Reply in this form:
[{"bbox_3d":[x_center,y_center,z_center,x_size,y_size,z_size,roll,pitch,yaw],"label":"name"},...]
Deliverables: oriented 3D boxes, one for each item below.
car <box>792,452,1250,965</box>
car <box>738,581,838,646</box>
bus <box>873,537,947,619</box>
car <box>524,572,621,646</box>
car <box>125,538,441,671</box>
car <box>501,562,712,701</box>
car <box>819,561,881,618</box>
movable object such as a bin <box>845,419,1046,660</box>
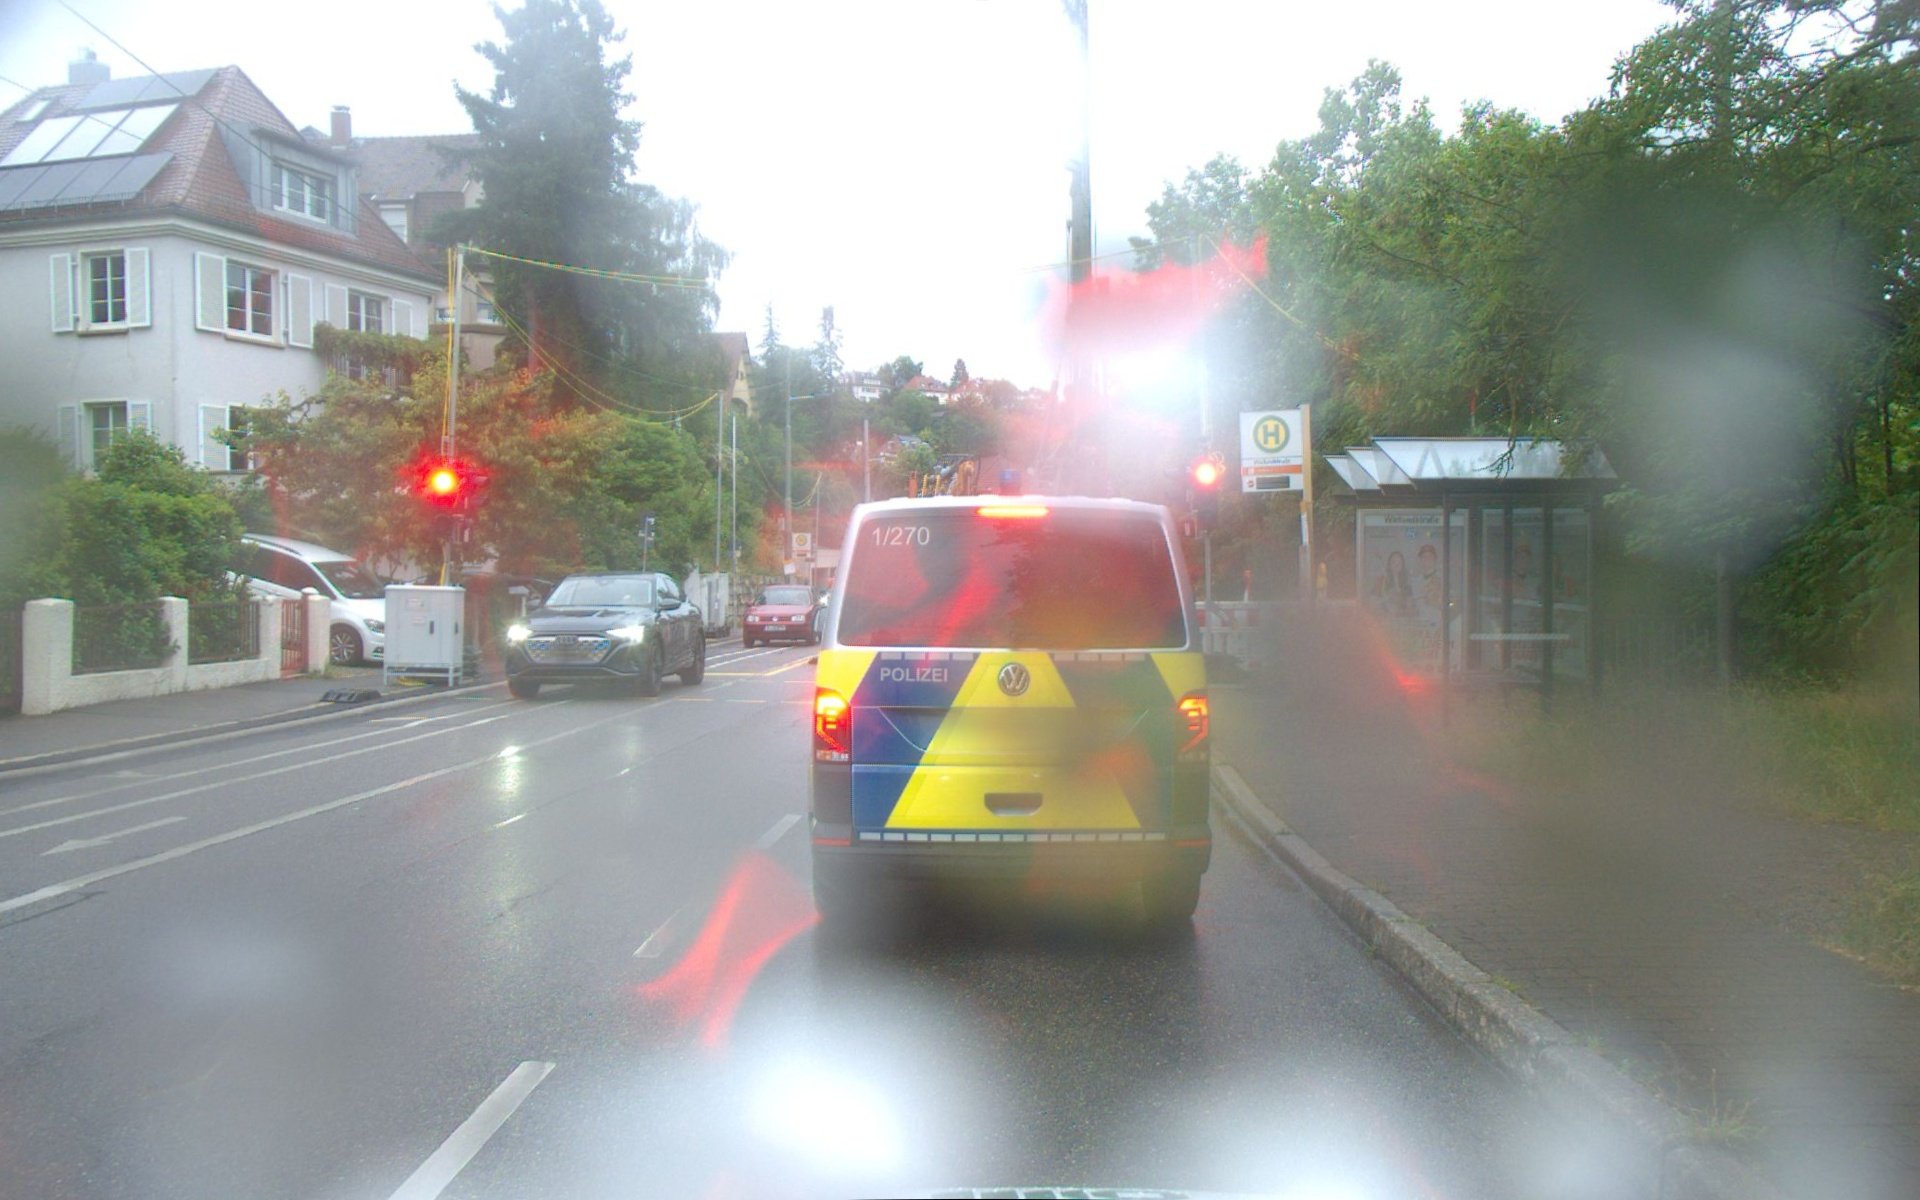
[{"bbox_3d":[0.227,0.435,8.818,1.855,2.086,3.999,1,0,-1],"label":"car"},{"bbox_3d":[-4.135,0.297,40.337,1.727,1.488,3.888,1,1,4],"label":"car"},{"bbox_3d":[-2.378,-1.053,82.872,2.782,3.783,12.009,1,0,2],"label":"bus"},{"bbox_3d":[-8.910,0.171,37.826,1.739,1.512,3.721,1,2,-20],"label":"car"},{"bbox_3d":[-11.208,0.053,27.488,4.532,2.042,1.902,1,0,11],"label":"car"},{"bbox_3d":[-4.737,0.387,22.883,1.953,1.703,4.687,-1,0,-1],"label":"car"},{"bbox_3d":[-3.632,-0.375,55.016,1.940,1.778,4.551,1,1,-3],"label":"car"},{"bbox_3d":[-0.165,-1.097,31.635,2.770,4.250,4.384,1,0,14],"label":"movable object such as a bin"}]
